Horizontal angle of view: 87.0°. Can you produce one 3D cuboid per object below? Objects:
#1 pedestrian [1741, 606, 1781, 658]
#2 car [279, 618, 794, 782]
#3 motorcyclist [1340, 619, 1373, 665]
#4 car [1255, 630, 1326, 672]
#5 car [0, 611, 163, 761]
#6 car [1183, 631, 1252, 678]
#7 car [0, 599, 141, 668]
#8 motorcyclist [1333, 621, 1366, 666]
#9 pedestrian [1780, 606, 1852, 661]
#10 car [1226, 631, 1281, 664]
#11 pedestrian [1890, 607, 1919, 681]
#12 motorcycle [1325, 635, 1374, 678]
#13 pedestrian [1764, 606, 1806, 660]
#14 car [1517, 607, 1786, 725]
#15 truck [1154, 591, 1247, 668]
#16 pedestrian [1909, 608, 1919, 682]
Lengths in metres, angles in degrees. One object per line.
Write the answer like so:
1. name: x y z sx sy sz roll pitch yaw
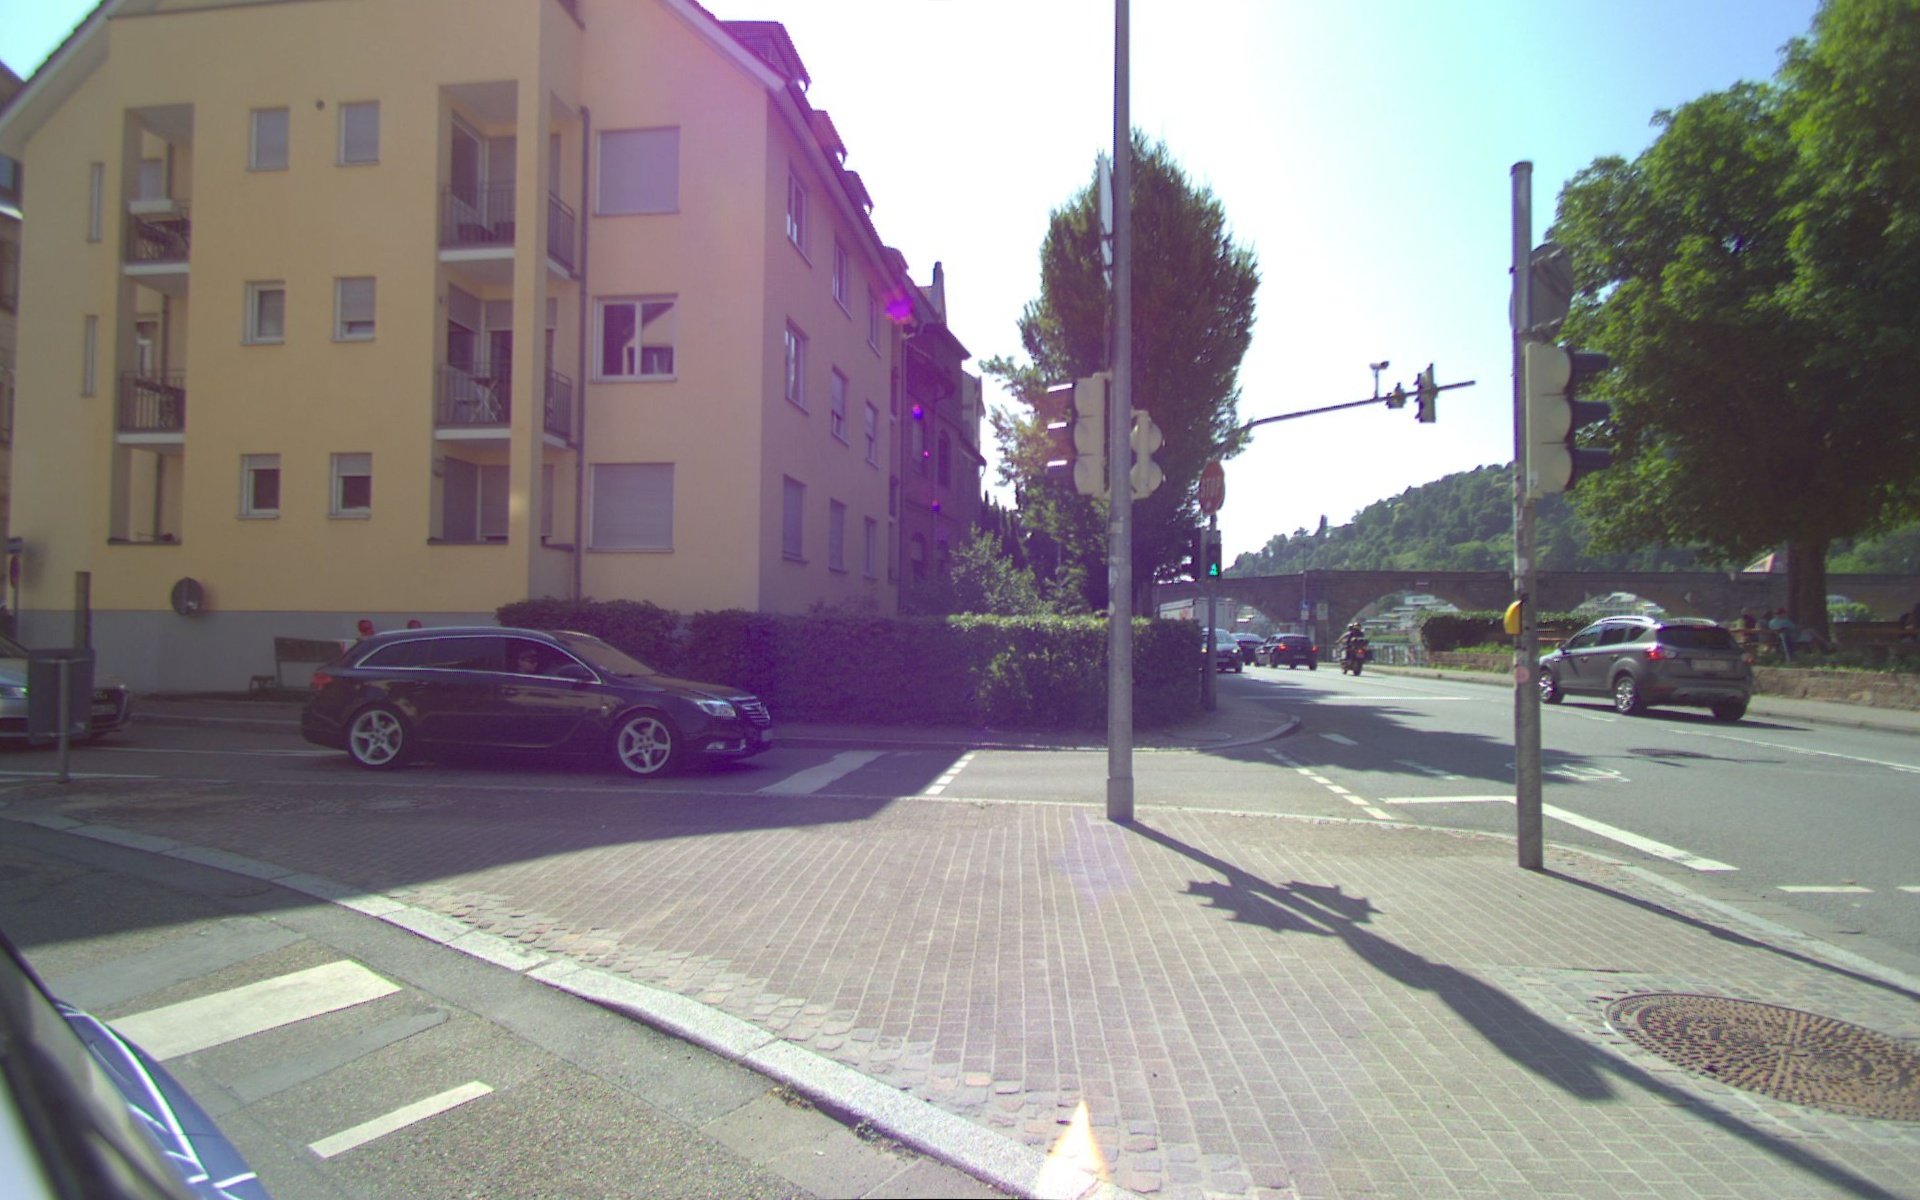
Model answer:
1. pedestrian: 20.091 0.796 25.397 0.624 1.280 0.467 1 -2 8
2. car: -4.237 1.003 10.576 4.663 1.473 1.717 1 -4 4
3. motorcyclist: 13.177 1.401 33.659 0.808 1.504 0.773 1 -2 2
4. car: 13.506 2.060 41.592 1.975 1.608 3.992 0 -2 6
5. car: -11.714 0.861 11.260 4.326 1.504 1.875 1 -2 4
6. car: 8.891 1.846 35.199 1.706 1.510 3.875 0 -2 5
7. car: -22.383 0.775 24.394 1.830 1.556 3.992 0 -1 6
8. motorcyclist: 13.242 1.469 34.421 0.807 1.506 0.874 1 0 2
9. pedestrian: 20.221 0.794 23.931 1.210 1.280 0.467 1 -2 9
10. car: 14.279 2.297 49.499 1.901 1.519 3.992 0 -2 6
11. pedestrian: 19.680 0.900 20.721 0.795 1.504 0.467 1 -2 9
12. motorcycle: 13.203 1.889 34.360 0.753 1.387 2.470 1 -2 2
13. pedestrian: 19.980 0.793 24.519 0.624 1.280 0.467 1 -2 8
14. car: 12.211 1.076 18.304 1.819 1.766 4.407 3 -1 2
15. truck: 14.664 1.856 62.920 3.171 4.246 12.756 1 -2 2
16. pedestrian: 19.861 0.907 20.144 1.369 1.490 0.467 1 -2 9
